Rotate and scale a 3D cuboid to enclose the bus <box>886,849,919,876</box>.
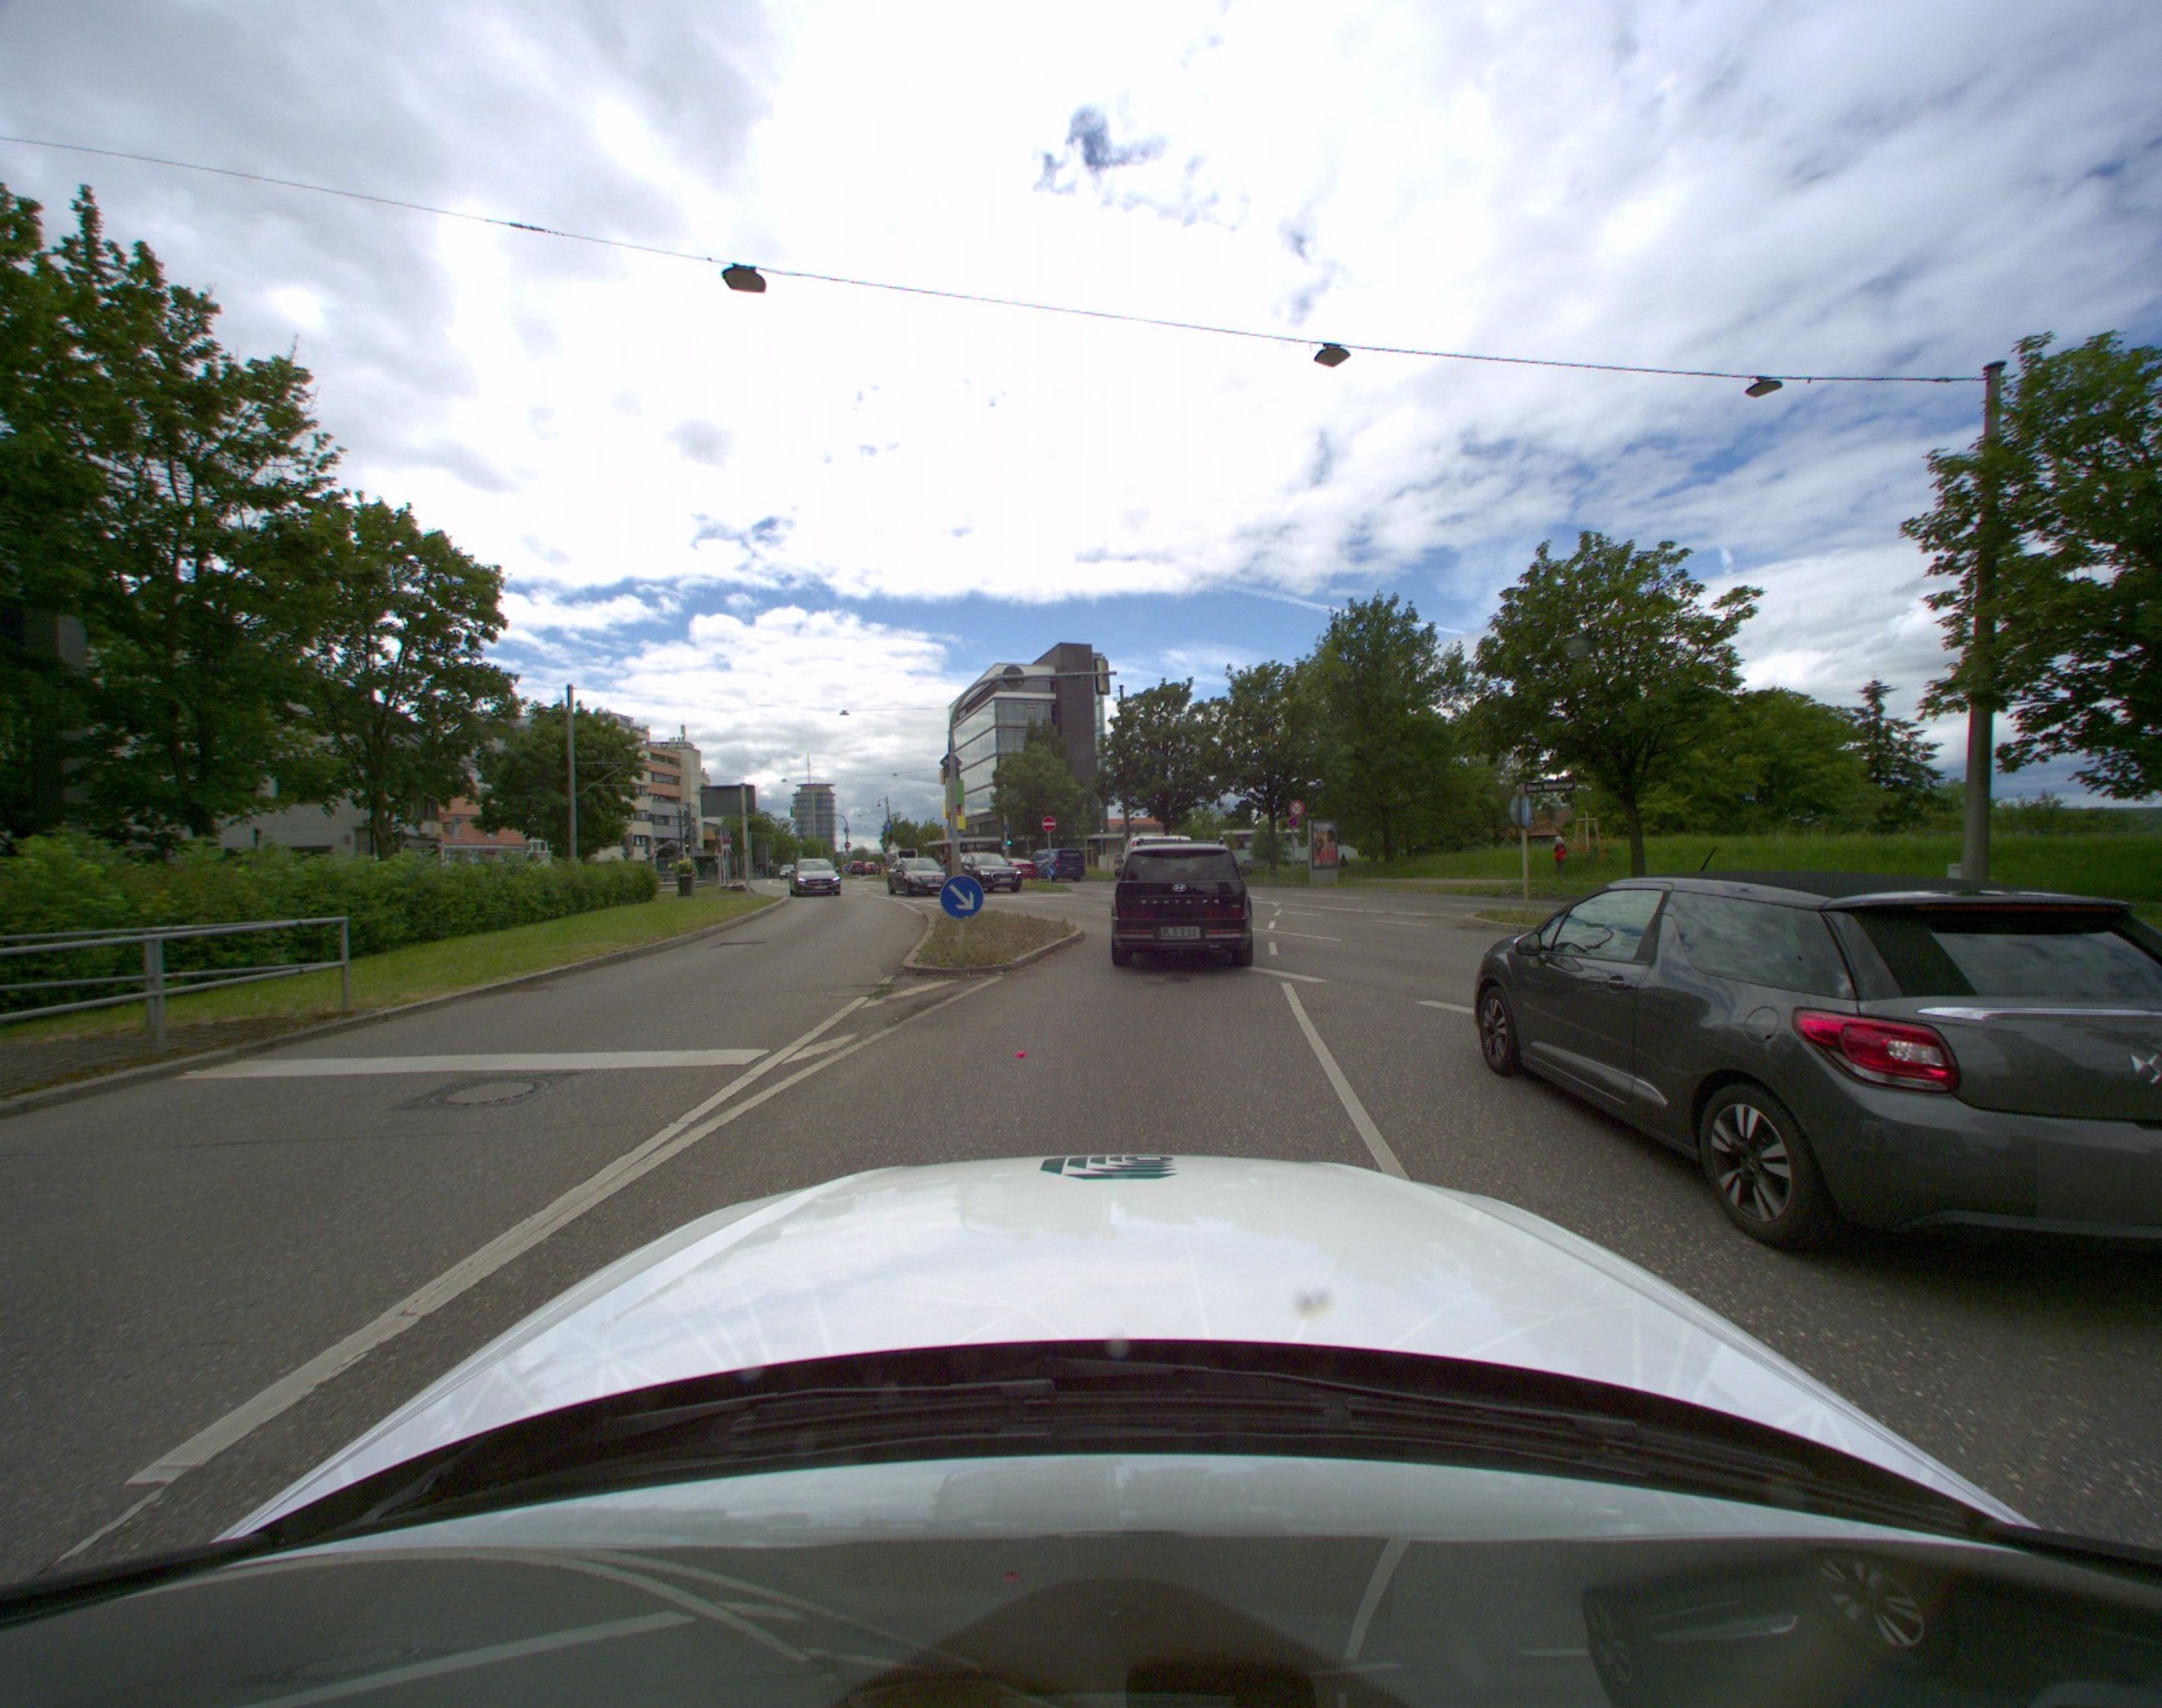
[{"bbox_3d":[-22.802,1.106,103.662,2.975,3.116,9.185,-3,0,-18],"label":"bus"}]

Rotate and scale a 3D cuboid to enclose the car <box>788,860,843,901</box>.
[{"bbox_3d":[-11.350,1.066,34.637,1.791,1.537,4.361,0,0,-24],"label":"car"}]

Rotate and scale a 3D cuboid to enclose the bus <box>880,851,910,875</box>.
[{"bbox_3d":[-25.767,1.284,112.637,2.961,3.111,9.913,-3,0,-18],"label":"bus"}]

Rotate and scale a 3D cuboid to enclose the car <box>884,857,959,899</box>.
[{"bbox_3d":[-6.209,0.859,31.384,1.792,1.425,4.358,-1,0,-26],"label":"car"}]

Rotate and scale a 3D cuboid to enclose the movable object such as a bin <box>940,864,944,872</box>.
[{"bbox_3d":[-16.659,1.679,97.825,0.357,0.898,0.459,-2,-1,-20],"label":"movable object such as a bin"}]

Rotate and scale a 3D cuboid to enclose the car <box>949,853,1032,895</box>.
[{"bbox_3d":[-3.786,0.751,33.325,1.899,1.564,4.356,-1,0,-28],"label":"car"}]

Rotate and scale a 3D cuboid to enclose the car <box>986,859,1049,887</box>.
[{"bbox_3d":[-3.466,0.978,43.569,1.883,1.418,4.404,0,0,-26],"label":"car"}]

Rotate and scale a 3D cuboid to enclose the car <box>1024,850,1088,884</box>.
[{"bbox_3d":[-1.503,0.723,47.074,1.912,1.859,4.668,0,0,-26],"label":"car"}]

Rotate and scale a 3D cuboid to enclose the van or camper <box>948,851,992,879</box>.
[{"bbox_3d":[-8.297,0.771,60.621,2.004,1.917,4.371,-1,1,-26],"label":"van or camper"}]

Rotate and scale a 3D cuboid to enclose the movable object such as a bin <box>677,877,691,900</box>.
[{"bbox_3d":[-18.605,1.610,38.197,0.566,1.012,0.831,-1,0,-25],"label":"movable object such as a bin"}]

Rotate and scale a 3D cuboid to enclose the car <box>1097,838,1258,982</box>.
[{"bbox_3d":[1.634,0.682,12.168,1.889,1.731,4.462,-1,0,13],"label":"car"}]

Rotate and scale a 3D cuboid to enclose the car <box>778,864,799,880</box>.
[{"bbox_3d":[-29.055,1.812,80.746,1.805,1.455,4.579,-2,0,-21],"label":"car"}]

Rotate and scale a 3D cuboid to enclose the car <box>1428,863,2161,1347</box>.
[{"bbox_3d":[3.543,0.805,4.563,1.693,1.461,4.066,0,0,4],"label":"car"}]

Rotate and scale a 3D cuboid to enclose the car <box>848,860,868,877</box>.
[{"bbox_3d":[-26.008,1.648,94.968,1.908,1.859,4.678,0,0,-20],"label":"car"}]

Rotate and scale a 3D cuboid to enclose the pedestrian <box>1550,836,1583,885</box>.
[{"bbox_3d":[16.592,0.229,27.823,0.544,1.603,0.696,-7,3,-27],"label":"pedestrian"}]

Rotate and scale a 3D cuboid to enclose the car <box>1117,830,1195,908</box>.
[{"bbox_3d":[2.016,0.400,23.014,1.895,1.969,4.637,0,0,2],"label":"car"}]
